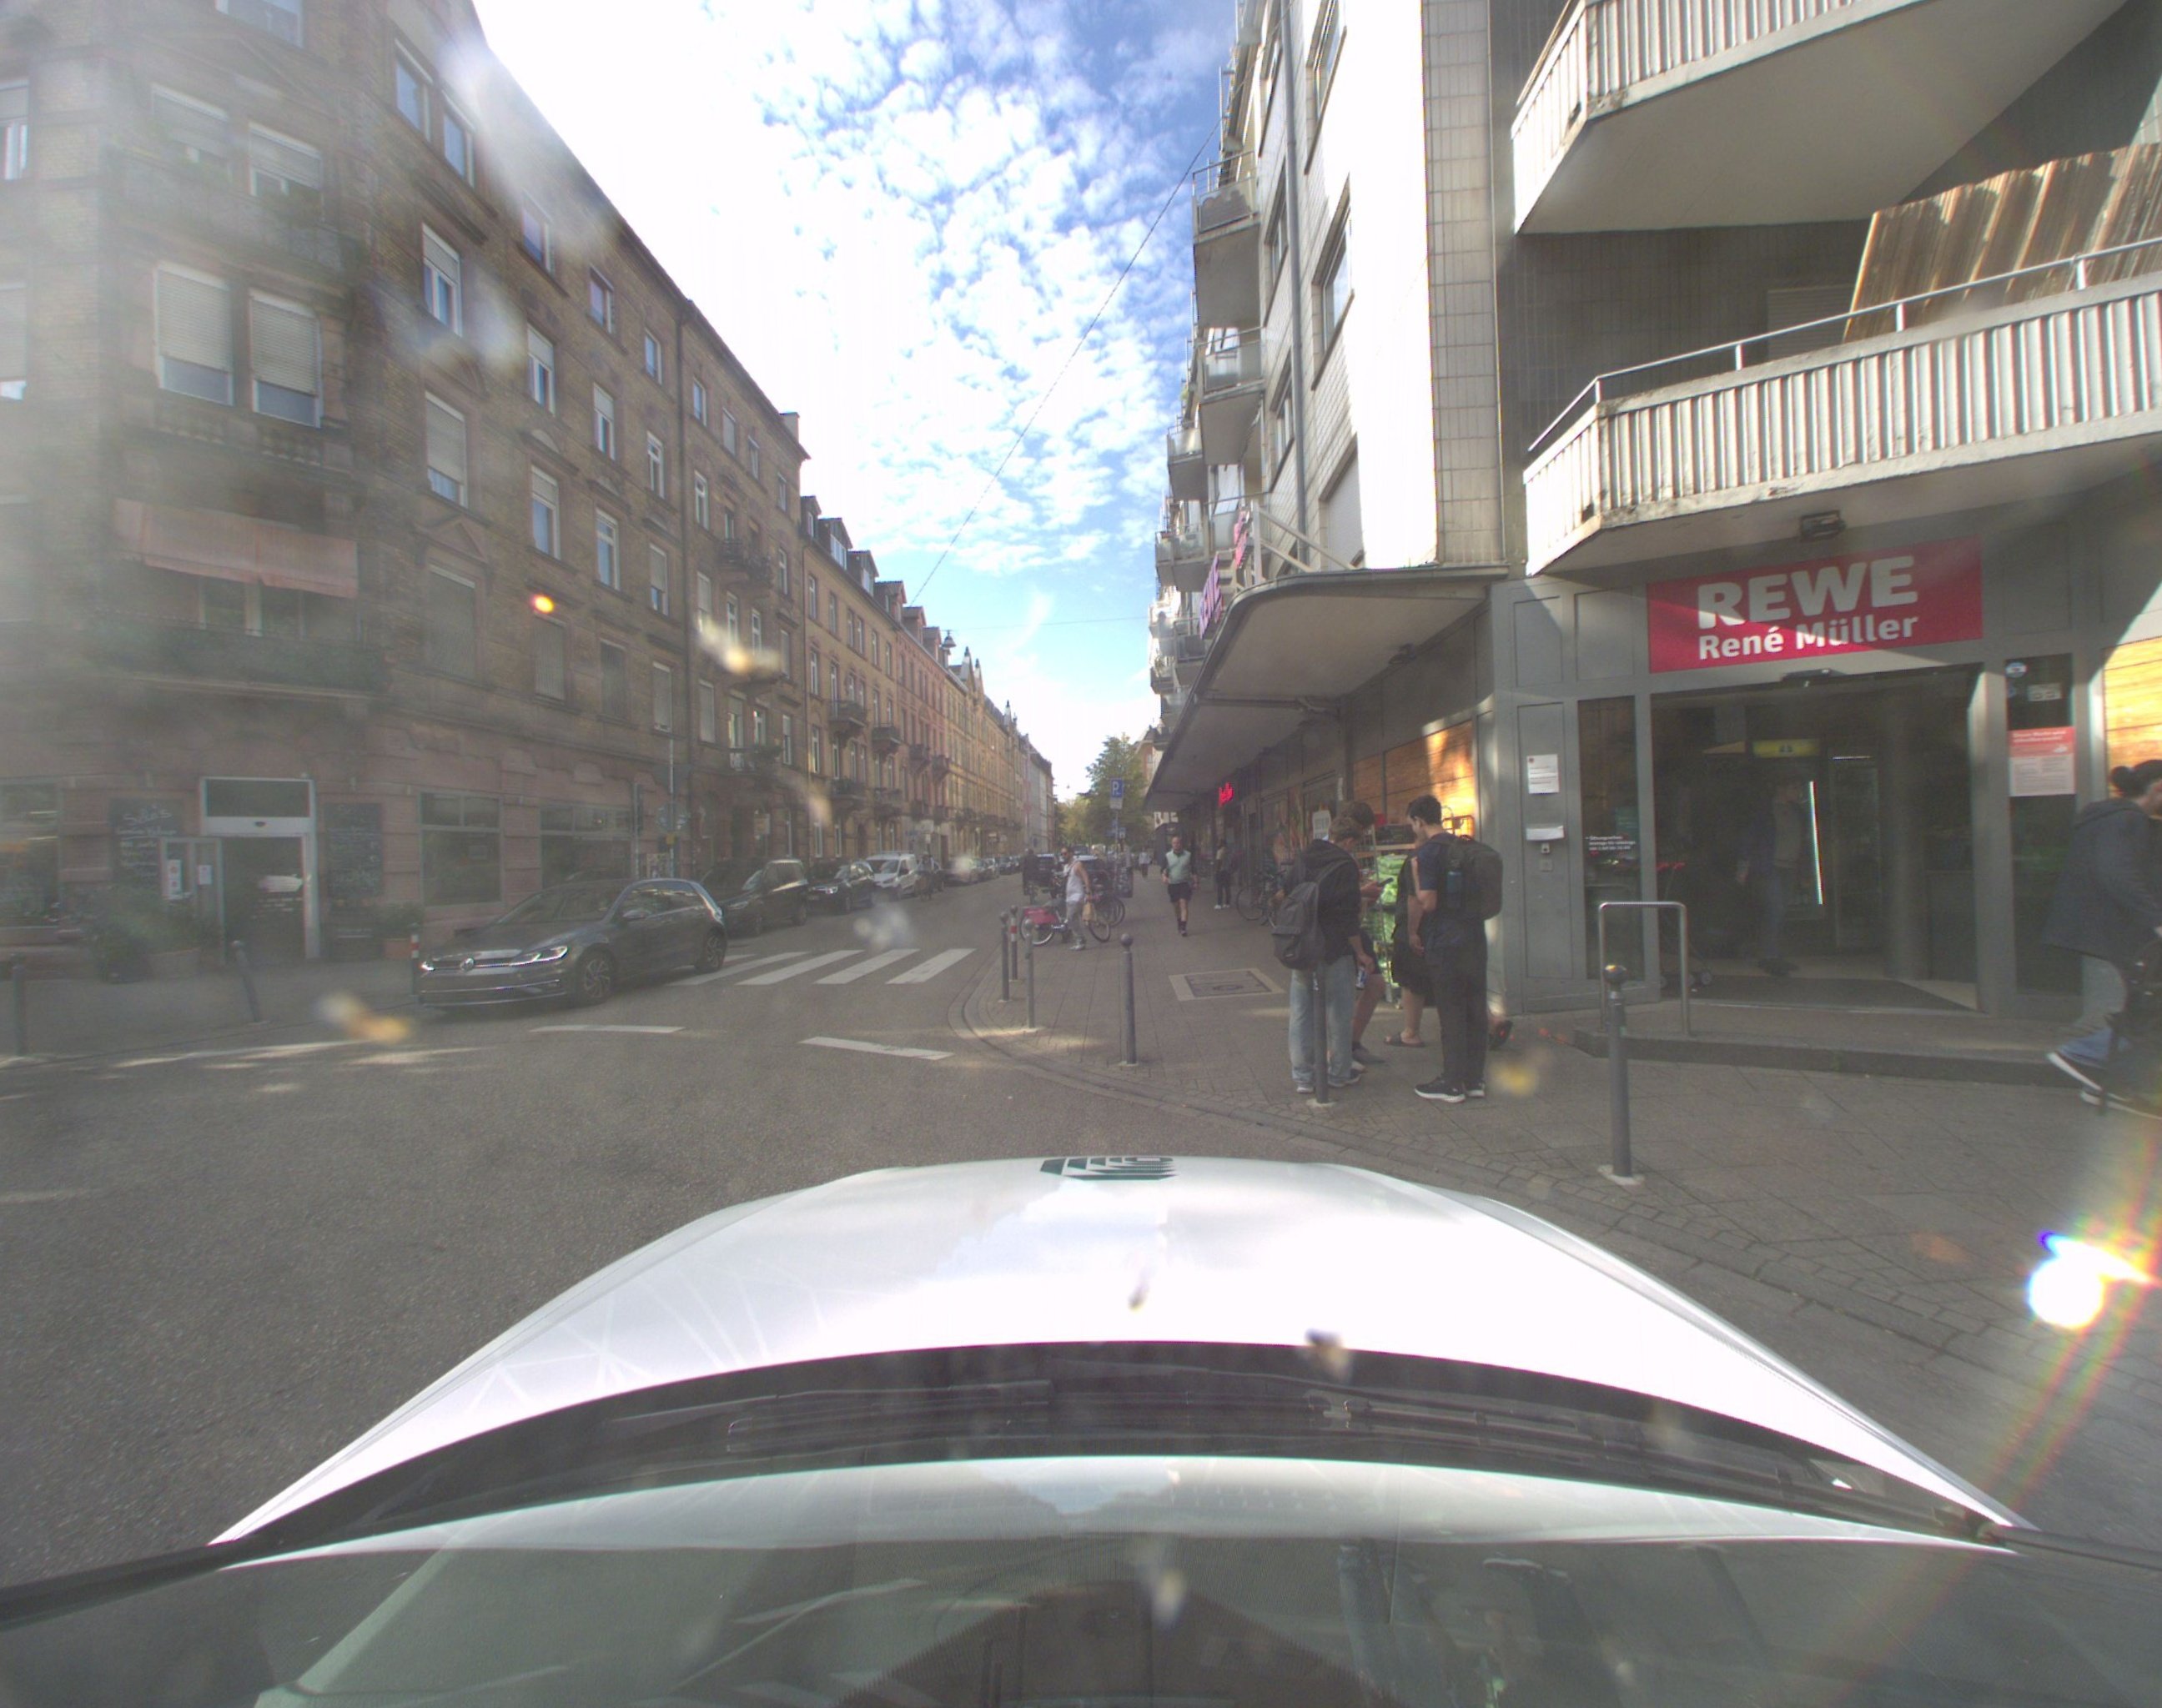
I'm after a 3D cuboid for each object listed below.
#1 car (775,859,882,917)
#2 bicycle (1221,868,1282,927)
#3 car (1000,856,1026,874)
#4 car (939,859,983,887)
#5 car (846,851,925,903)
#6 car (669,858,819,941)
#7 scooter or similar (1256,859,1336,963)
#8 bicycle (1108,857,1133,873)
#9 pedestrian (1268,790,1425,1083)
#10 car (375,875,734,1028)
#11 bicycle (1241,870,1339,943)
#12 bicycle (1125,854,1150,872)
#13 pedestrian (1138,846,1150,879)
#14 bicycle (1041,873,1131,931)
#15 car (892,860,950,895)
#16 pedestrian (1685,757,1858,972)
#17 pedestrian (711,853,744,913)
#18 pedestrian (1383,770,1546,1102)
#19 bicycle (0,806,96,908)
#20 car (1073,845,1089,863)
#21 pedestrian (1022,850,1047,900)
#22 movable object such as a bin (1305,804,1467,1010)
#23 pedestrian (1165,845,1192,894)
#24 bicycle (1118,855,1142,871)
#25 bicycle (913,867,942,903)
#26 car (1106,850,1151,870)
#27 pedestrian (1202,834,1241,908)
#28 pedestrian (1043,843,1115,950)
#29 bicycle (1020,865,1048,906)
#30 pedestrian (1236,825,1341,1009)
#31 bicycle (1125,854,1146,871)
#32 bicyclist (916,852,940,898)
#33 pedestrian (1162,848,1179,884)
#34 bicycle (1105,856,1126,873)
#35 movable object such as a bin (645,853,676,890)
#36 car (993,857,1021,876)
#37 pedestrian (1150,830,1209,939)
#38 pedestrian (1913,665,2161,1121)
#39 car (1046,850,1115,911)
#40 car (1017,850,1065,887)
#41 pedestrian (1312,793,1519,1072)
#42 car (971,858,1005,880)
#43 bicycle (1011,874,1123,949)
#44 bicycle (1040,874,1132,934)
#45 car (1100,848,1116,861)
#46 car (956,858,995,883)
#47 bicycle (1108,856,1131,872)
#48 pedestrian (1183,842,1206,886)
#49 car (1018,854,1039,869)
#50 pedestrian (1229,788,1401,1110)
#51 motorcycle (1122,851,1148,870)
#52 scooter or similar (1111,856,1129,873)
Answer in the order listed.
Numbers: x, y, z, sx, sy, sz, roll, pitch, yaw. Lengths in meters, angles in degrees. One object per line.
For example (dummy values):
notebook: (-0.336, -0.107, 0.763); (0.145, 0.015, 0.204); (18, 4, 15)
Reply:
car: (-7.984, 1.021, 26.147); (1.986, 1.638, 4.147); (-1, 0, 2)
bicycle: (3.278, 0.812, 15.824); (0.739, 1.015, 1.782); (-4, 0, -1)
car: (-5.908, 0.928, 70.779); (1.683, 1.437, 3.870); (-1, 0, 3)
car: (-6.844, 1.041, 46.737); (1.734, 1.483, 3.986); (-1, 0, 3)
car: (-7.666, 0.854, 32.399); (1.912, 1.871, 4.439); (-1, 0, 2)
car: (-8.109, 1.011, 20.077); (1.753, 1.773, 4.408); (0, 0, 2)
scooter or similar: (2.762, 0.702, 10.578); (0.630, 1.213, 1.256); (-4, 0, 0)
bicycle: (2.882, 0.786, 60.111); (1.761, 1.056, 0.411); (-4, 0, -3)
pedestrian: (1.777, 0.507, 5.440); (0.705, 1.797, 0.636); (-4, 1, 36)
car: (-6.284, 1.053, 10.392); (1.784, 1.438, 4.002); (-3, -1, 3)
bicycle: (3.265, 0.800, 12.918); (0.677, 1.043, 1.724); (-2, -1, -17)
bicycle: (4.130, 0.648, 59.655); (1.757, 1.162, 0.651); (-4, 0, 5)
pedestrian: (3.421, 0.446, 44.350); (0.609, 1.726, 1.128); (-2, 1, 4)
bicycle: (0.100, 1.012, 17.375); (1.786, 1.070, 0.585); (-4, 1, -8)
car: (-7.287, 1.040, 37.402); (1.735, 1.483, 3.985); (0, 0, 2)
pedestrian: (6.033, 0.087, 7.182); (0.758, 1.753, 0.933); (-2, 0, 9)
pedestrian: (-11.140, 0.905, 25.672); (0.675, 1.840, 0.857); (1, 0, -3)
pedestrian: (2.217, 0.457, 4.792); (0.648, 1.797, 0.661); (-5, 1, 15)
bicycle: (-16.709, 0.064, 12.579); (2.152, 1.521, 0.556); (-2, 0, -3)
car: (0.004, -0.013, 98.614); (1.775, 2.020, 3.890); (-1, 0, 2)
pedestrian: (-1.587, 0.710, 27.757); (0.715, 1.650, 0.931); (-1, 0, 4)
movable object such as a bin: (2.953, 0.452, 8.203); (0.776, 1.744, 2.425); (-2, 0, 3)
pedestrian: (3.278, 0.518, 27.461); (0.820, 1.588, 0.781); (-2, 0, 4)
bicycle: (3.977, 0.725, 66.059); (1.777, 1.159, 0.503); (-4, 0, 29)
bicycle: (-5.739, 1.139, 30.612); (0.698, 1.220, 2.115); (-1, 0, -1)
car: (4.290, 0.565, 74.293); (3.758, 1.546, 1.726); (-4, -1, -8)
pedestrian: (3.451, 0.409, 20.018); (0.711, 1.746, 0.817); (-4, 0, 1)
pedestrian: (-0.047, 0.689, 13.486); (1.020, 1.671, 0.801); (-2, -1, -12)
bicycle: (-1.586, 1.050, 27.685); (0.715, 1.274, 1.886); (-1, 0, 4)
pedestrian: (1.963, 0.574, 7.806); (0.719, 1.632, 0.712); (-4, 0, 0)
bicycle: (4.131, 0.634, 61.488); (1.489, 1.146, 0.412); (-4, 0, 2)
bicyclist: (-5.749, 0.792, 30.646); (0.699, 1.677, 1.112); (-1, 0, -2)
pedestrian: (4.066, 0.547, 37.007); (0.641, 1.588, 0.781); (-4, 0, 4)
bicycle: (2.594, 0.773, 61.495); (1.491, 1.146, 0.411); (-4, 0, -3)
movable object such as a bin: (-8.418, 0.350, 16.315); (0.382, 0.714, 0.475); (-1, 0, -2)
car: (-5.834, 0.976, 64.699); (1.683, 1.386, 3.870); (-1, 0, 3)
pedestrian: (1.797, 0.531, 14.714); (0.878, 1.834, 1.050); (-4, 0, 10)
pedestrian: (5.000, 0.156, 4.021); (0.866, 2.013, 1.024); (-4, 1, -30)
car: (0.058, 0.748, 25.207); (1.785, 1.605, 3.928); (-4, 0, 3)
car: (-1.990, 0.718, 41.591); (1.956, 1.740, 4.045); (-1, 0, 3)
pedestrian: (2.331, 0.501, 5.808); (0.849, 1.746, 1.046); (-4, 0, -8)
car: (-6.355, 0.989, 55.981); (1.683, 1.386, 3.870); (-1, 0, 3)
bicycle: (-0.234, 1.001, 14.554); (1.876, 1.125, 0.907); (-4, 0, 0)
bicycle: (0.093, 1.022, 16.798); (1.786, 1.070, 0.567); (-4, 1, -8)
car: (3.565, 0.056, 107.494); (1.922, 1.638, 4.004); (-1, 0, 3)
car: (-6.649, 1.004, 51.670); (1.734, 1.483, 3.986); (-1, 0, 3)
bicycle: (3.129, 0.803, 65.723); (1.785, 1.159, 0.501); (-4, 0, 5)
pedestrian: (4.838, 0.412, 34.777); (0.700, 1.860, 0.649); (-2, 0, 32)
car: (-5.199, 0.727, 81.122); (1.683, 1.369, 3.870); (2, 0, 3)
pedestrian: (1.452, 0.530, 5.027); (0.624, 1.797, 0.719); (-4, 1, 44)
motorcycle: (4.803, 0.539, 71.944); (2.139, 1.530, 0.687); (-4, 0, 7)
scooter or similar: (2.833, 0.755, 59.401); (1.193, 1.147, 0.381); (-4, 1, 34)
